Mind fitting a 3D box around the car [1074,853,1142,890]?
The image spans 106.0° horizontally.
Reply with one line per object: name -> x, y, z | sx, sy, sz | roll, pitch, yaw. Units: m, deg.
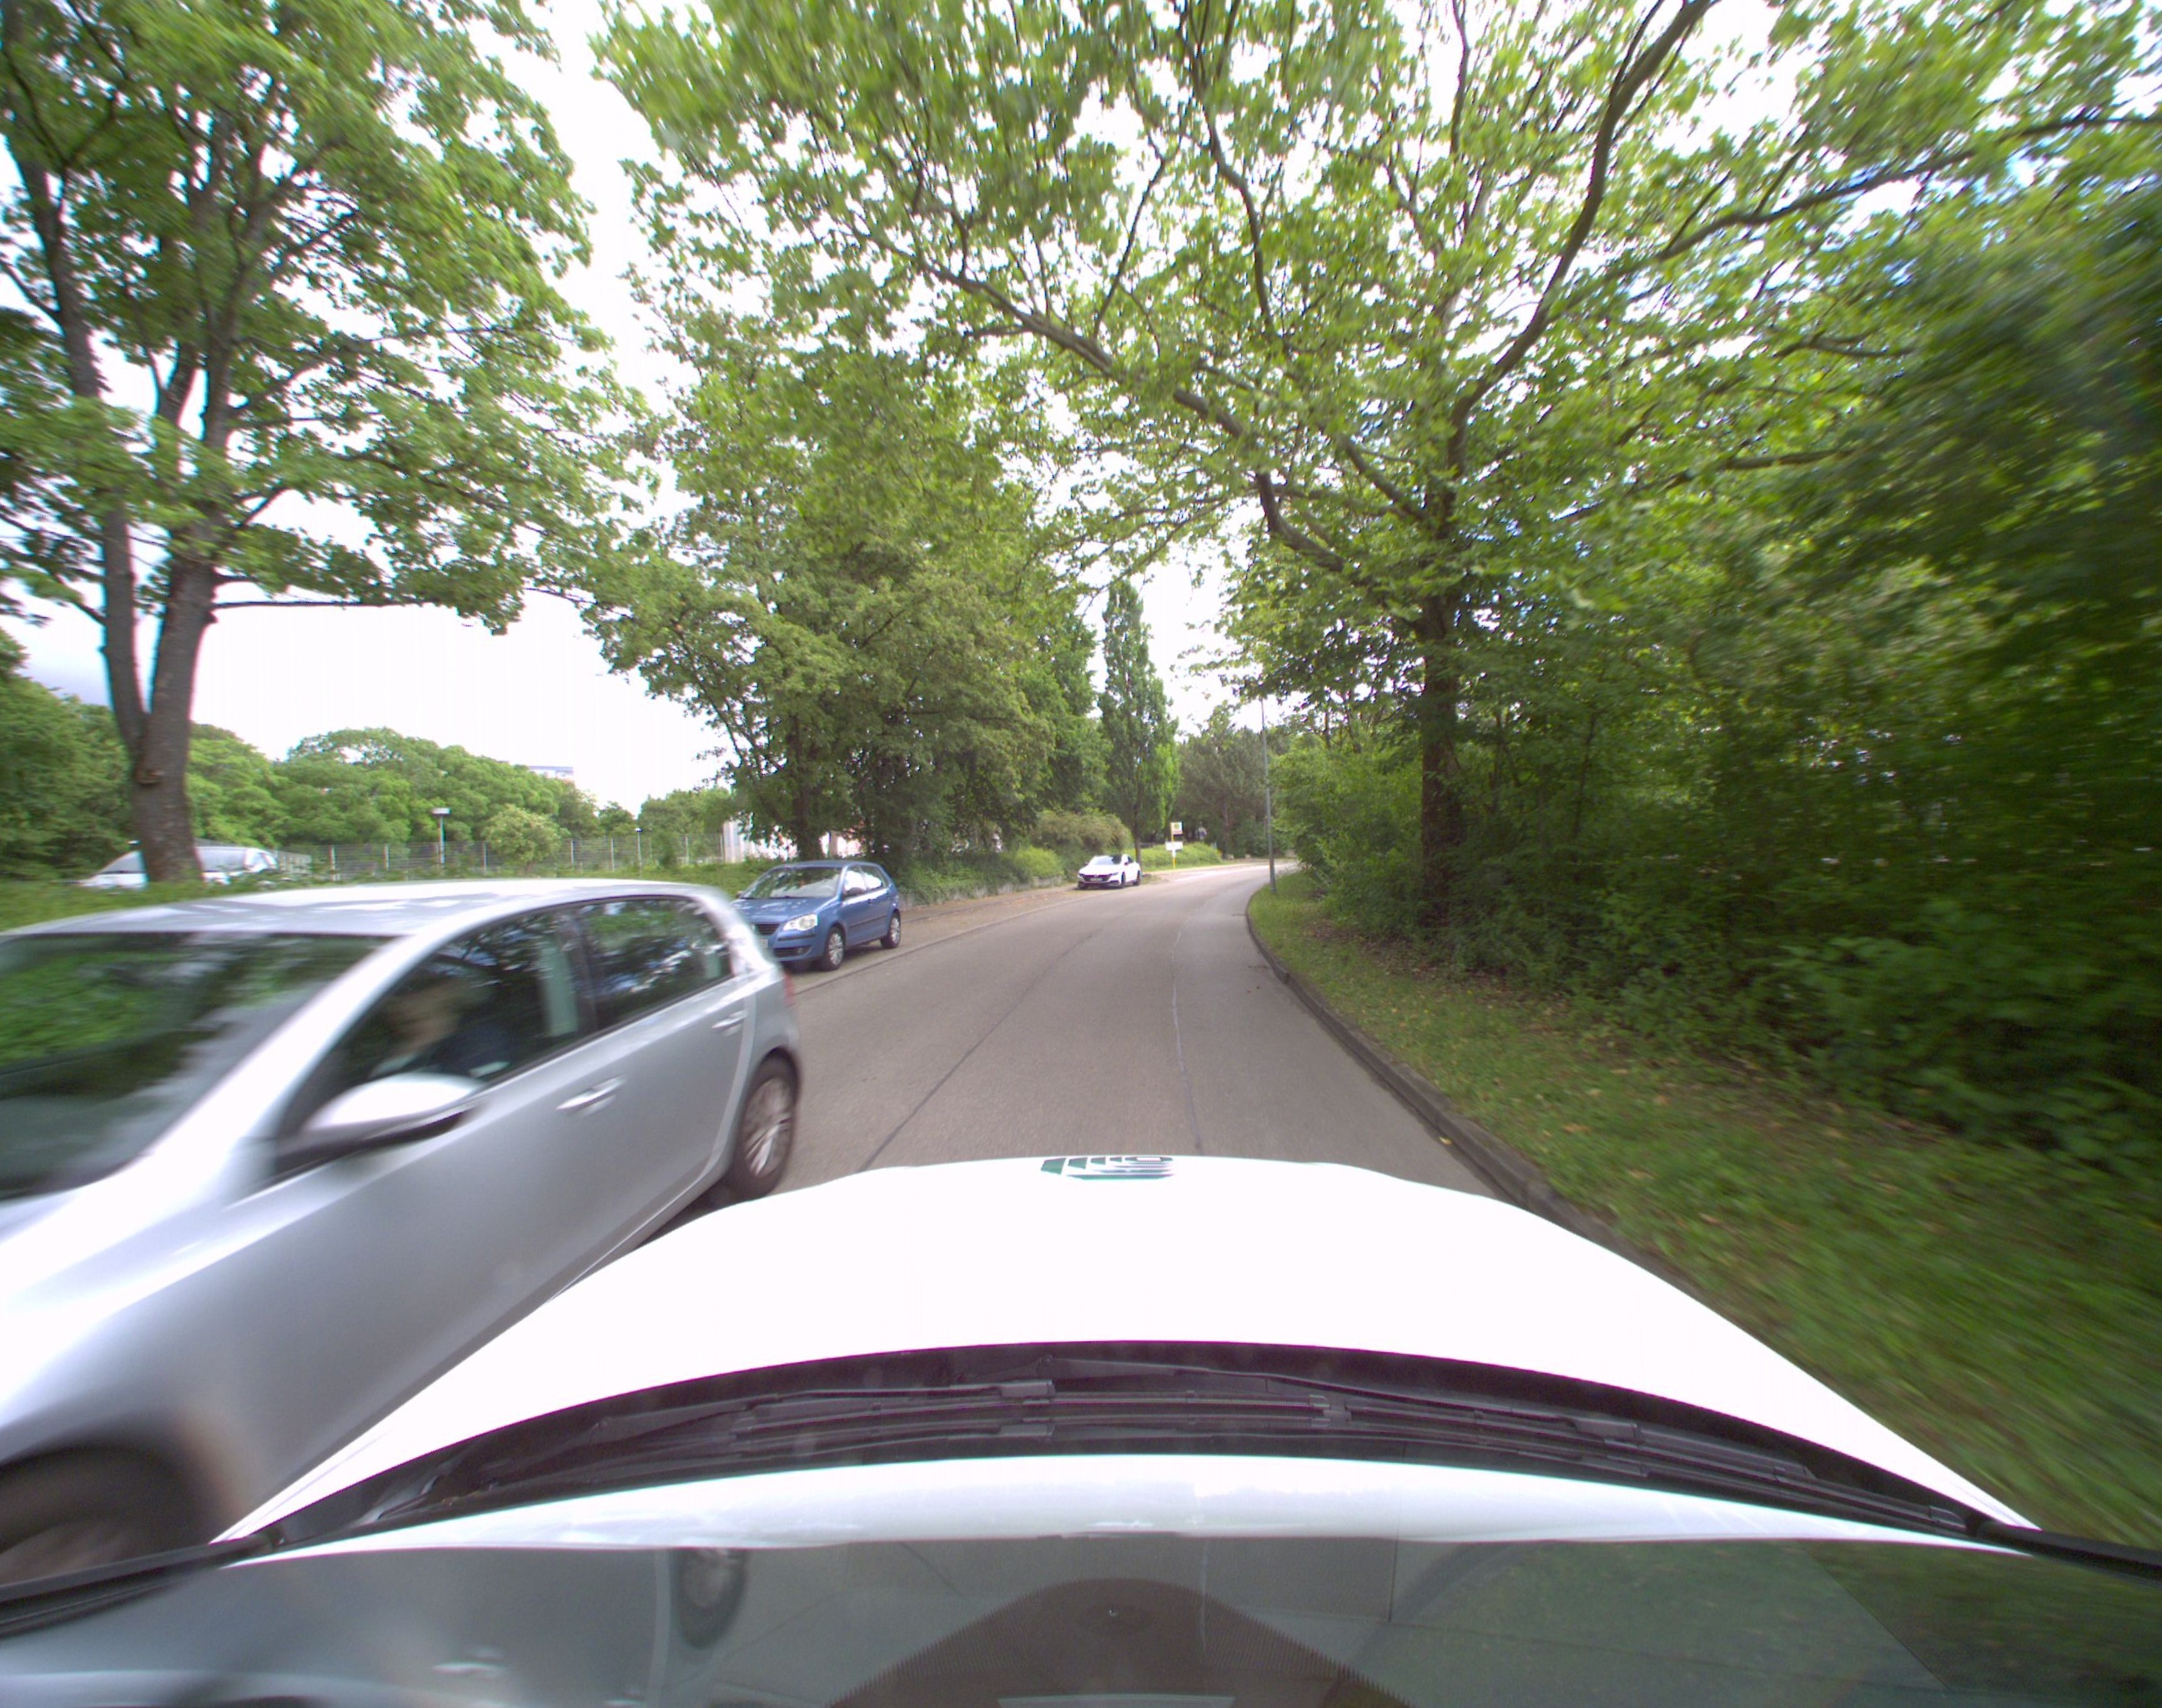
car -> 1.213, 0.708, 34.292 | 1.800, 1.424, 4.379 | -1, 0, 16

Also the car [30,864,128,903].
car -> -48.877, 1.415, 39.824 | 2.009, 1.684, 3.955 | -3, 0, -36

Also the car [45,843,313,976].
car -> -13.420, 0.687, 12.427 | 1.753, 1.622, 3.833 | -3, 2, -33

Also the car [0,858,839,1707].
car -> -2.311, 0.761, 2.512 | 1.669, 1.462, 4.065 | 0, 0, 4

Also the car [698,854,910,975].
car -> -3.876, 0.768, 12.076 | 1.526, 1.459, 3.725 | -2, 0, 5
